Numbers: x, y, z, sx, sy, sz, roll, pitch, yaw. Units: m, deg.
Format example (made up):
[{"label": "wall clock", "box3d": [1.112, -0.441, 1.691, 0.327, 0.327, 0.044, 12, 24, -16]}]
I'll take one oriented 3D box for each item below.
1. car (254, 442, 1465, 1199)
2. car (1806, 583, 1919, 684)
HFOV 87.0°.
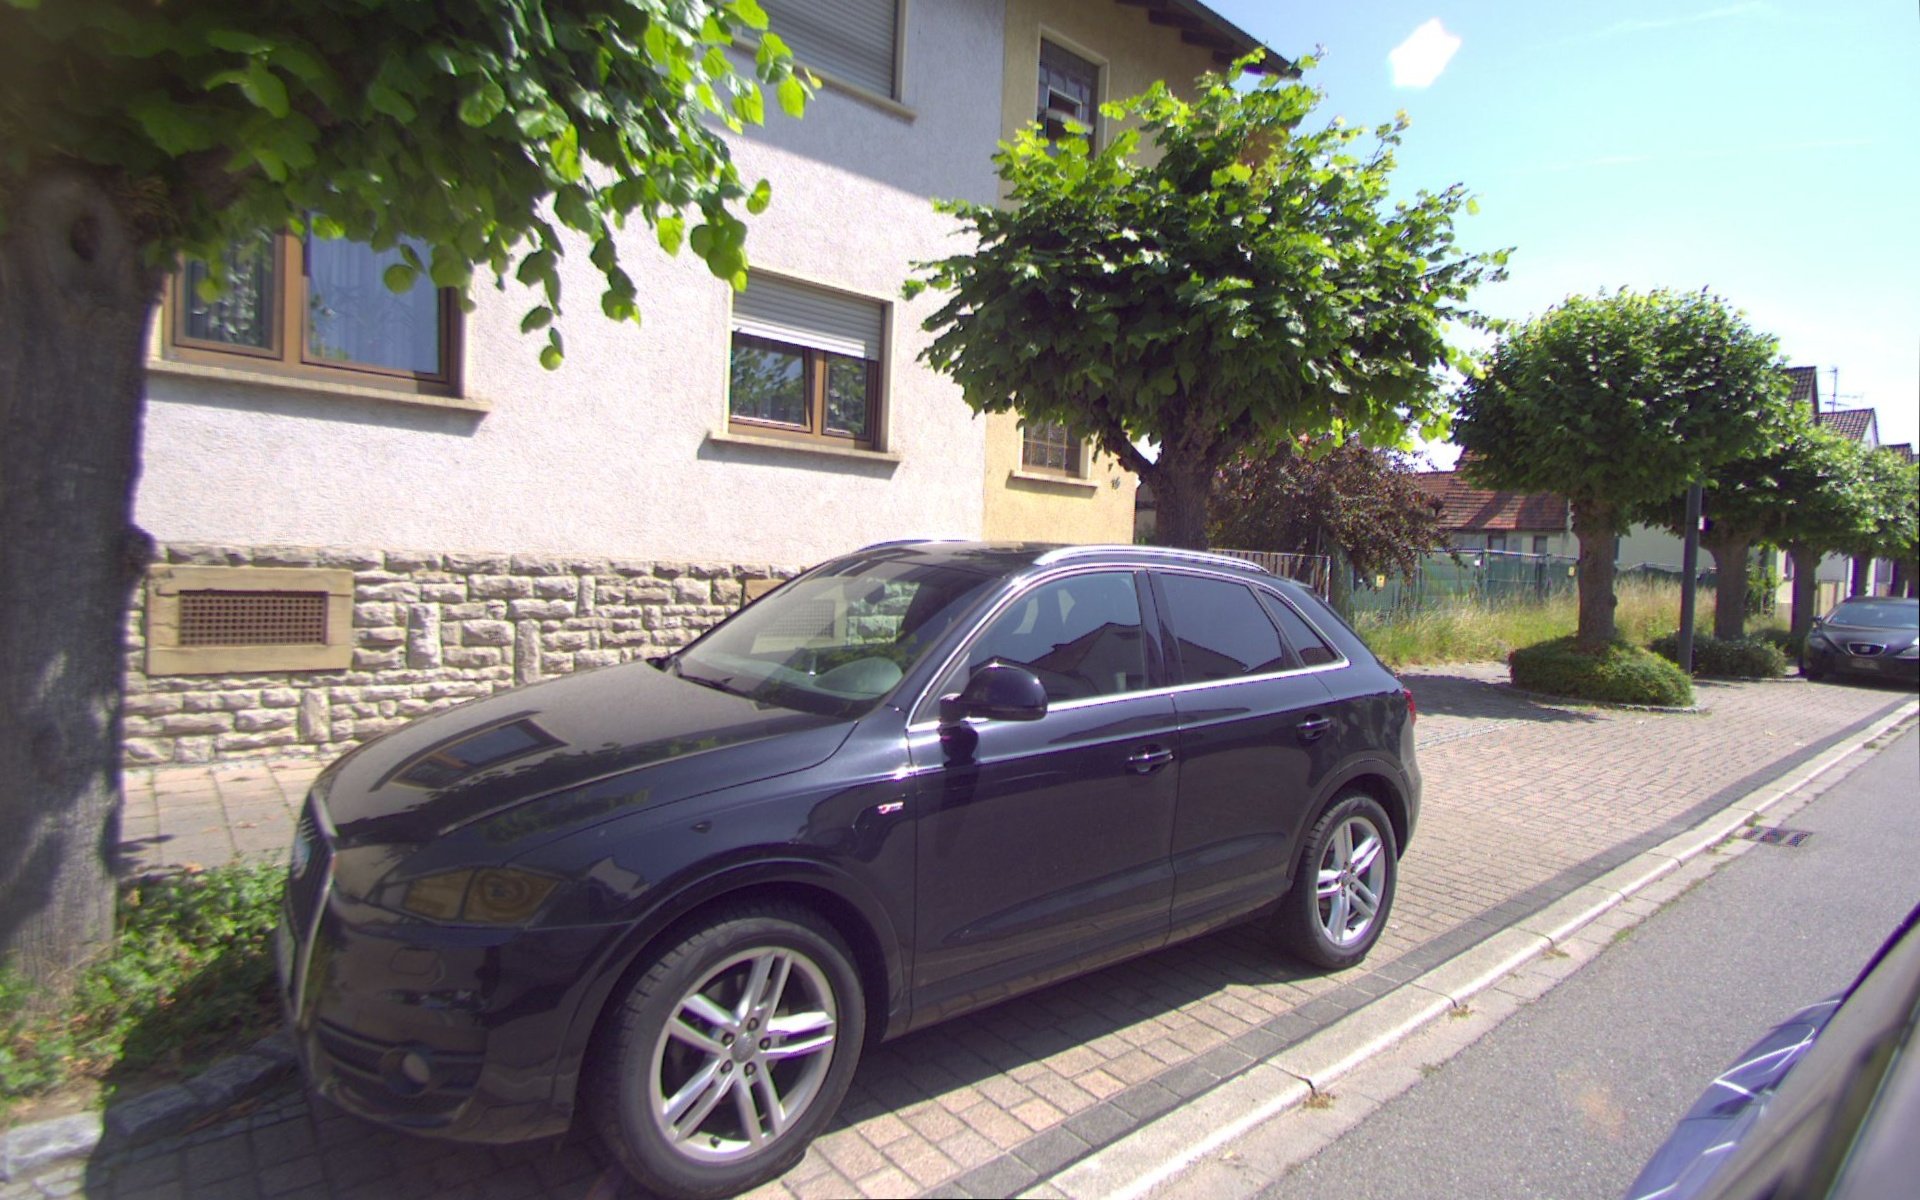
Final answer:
[{"label": "car", "box3d": [-0.100, 0.482, 3.686, 3.981, 1.605, 1.830, 1, 4, -37]}, {"label": "car", "box3d": [15.976, 0.525, 17.163, 3.986, 1.449, 1.828, 0, 4, -41]}]
